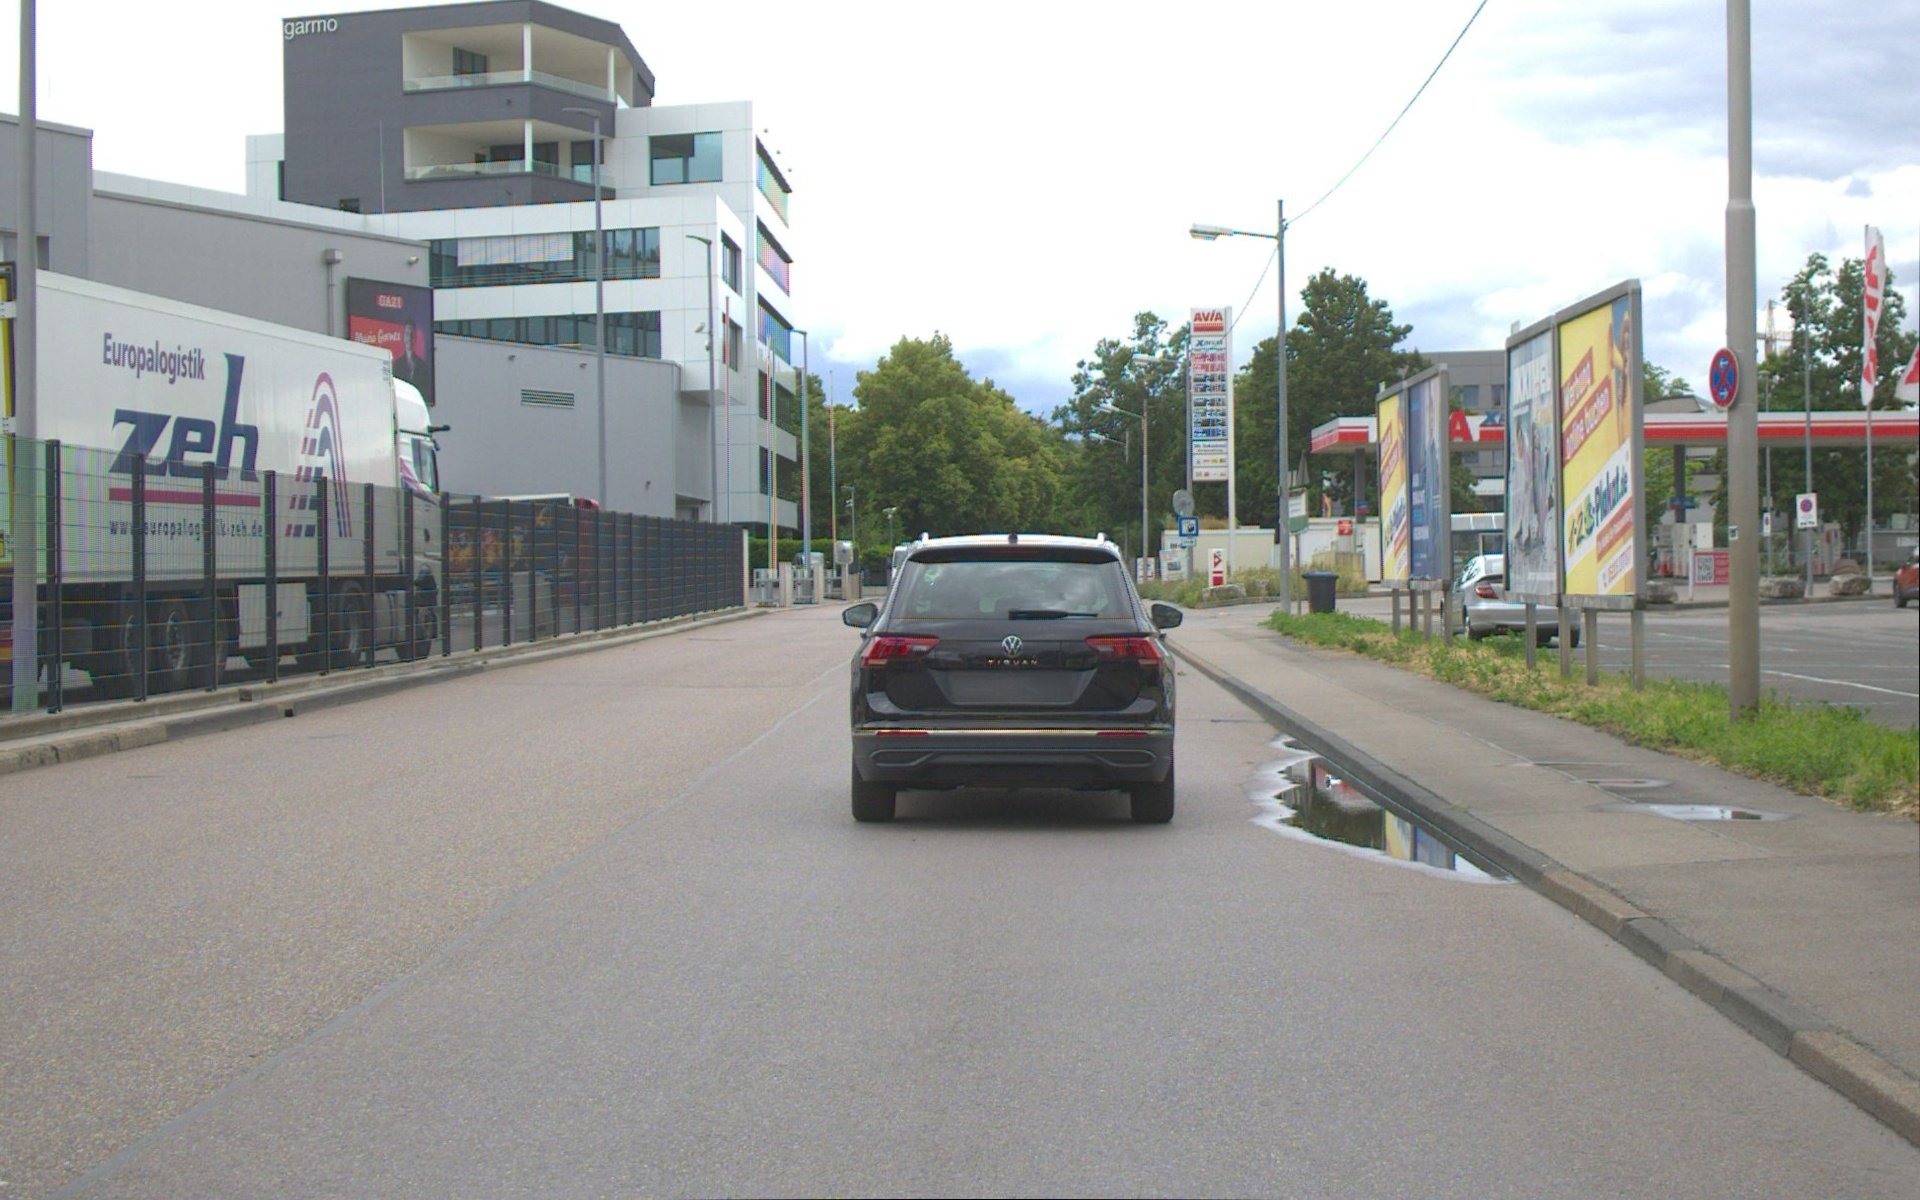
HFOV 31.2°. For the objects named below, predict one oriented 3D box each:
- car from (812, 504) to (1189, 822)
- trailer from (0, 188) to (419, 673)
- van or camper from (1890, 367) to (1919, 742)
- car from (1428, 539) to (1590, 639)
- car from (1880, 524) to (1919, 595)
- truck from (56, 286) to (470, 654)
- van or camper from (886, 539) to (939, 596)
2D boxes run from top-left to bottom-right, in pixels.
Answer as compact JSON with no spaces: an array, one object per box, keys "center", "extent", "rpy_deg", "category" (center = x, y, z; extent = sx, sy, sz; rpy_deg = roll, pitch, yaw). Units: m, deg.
[{"center":[0.266,0.307,20.423],"extent":[1.993,1.678,4.371],"rpy_deg":[0,1,1],"category":"car"},{"center":[-9.180,-1.511,37.434],"extent":[3.133,4.246,14.018],"rpy_deg":[-4,1,4],"category":"trailer"},{"center":[7.780,-0.290,21.940],"extent":[2.256,2.638,6.114],"rpy_deg":[-1,1,2],"category":"van or camper"},{"center":[8.410,-0.197,53.014],"extent":[1.889,1.440,4.428],"rpy_deg":[1,1,2],"category":"car"},{"center":[24.003,-0.998,83.859],"extent":[1.993,1.700,4.000],"rpy_deg":[-1,1,-1],"category":"car"},{"center":[-8.707,-1.586,43.962],"extent":[3.128,4.103,6.941],"rpy_deg":[-4,1,4],"category":"truck"},{"center":[-1.899,-1.334,139.301],"extent":[1.993,2.248,4.000],"rpy_deg":[0,1,1],"category":"van or camper"}]
